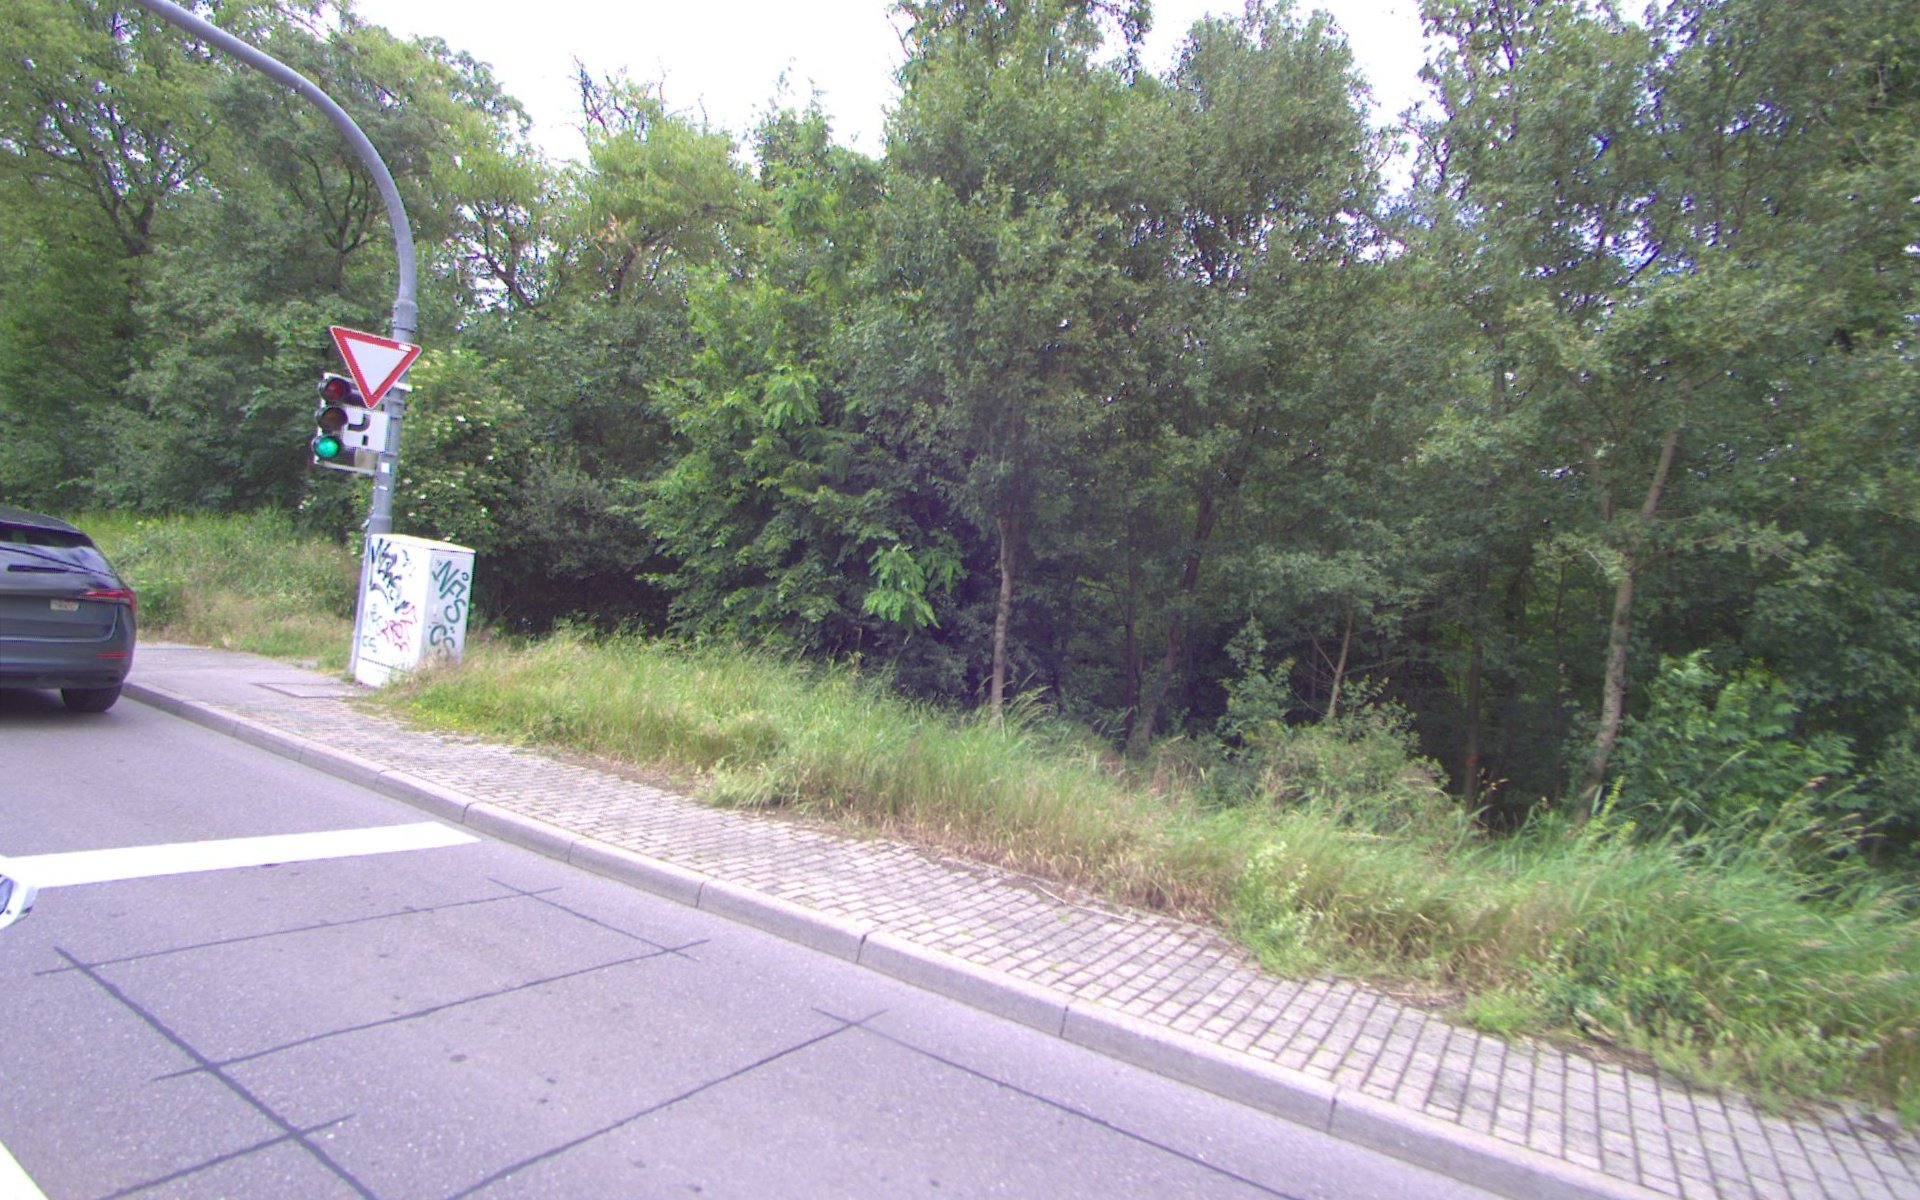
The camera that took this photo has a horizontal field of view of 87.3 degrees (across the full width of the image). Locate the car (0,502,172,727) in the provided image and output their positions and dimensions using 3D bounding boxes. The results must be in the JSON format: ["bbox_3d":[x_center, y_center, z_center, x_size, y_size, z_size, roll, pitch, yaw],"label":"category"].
[{"bbox_3d":[-7.950,-0.089,7.564,3.933,1.468,1.796,6,-1,31],"label":"car"}]
